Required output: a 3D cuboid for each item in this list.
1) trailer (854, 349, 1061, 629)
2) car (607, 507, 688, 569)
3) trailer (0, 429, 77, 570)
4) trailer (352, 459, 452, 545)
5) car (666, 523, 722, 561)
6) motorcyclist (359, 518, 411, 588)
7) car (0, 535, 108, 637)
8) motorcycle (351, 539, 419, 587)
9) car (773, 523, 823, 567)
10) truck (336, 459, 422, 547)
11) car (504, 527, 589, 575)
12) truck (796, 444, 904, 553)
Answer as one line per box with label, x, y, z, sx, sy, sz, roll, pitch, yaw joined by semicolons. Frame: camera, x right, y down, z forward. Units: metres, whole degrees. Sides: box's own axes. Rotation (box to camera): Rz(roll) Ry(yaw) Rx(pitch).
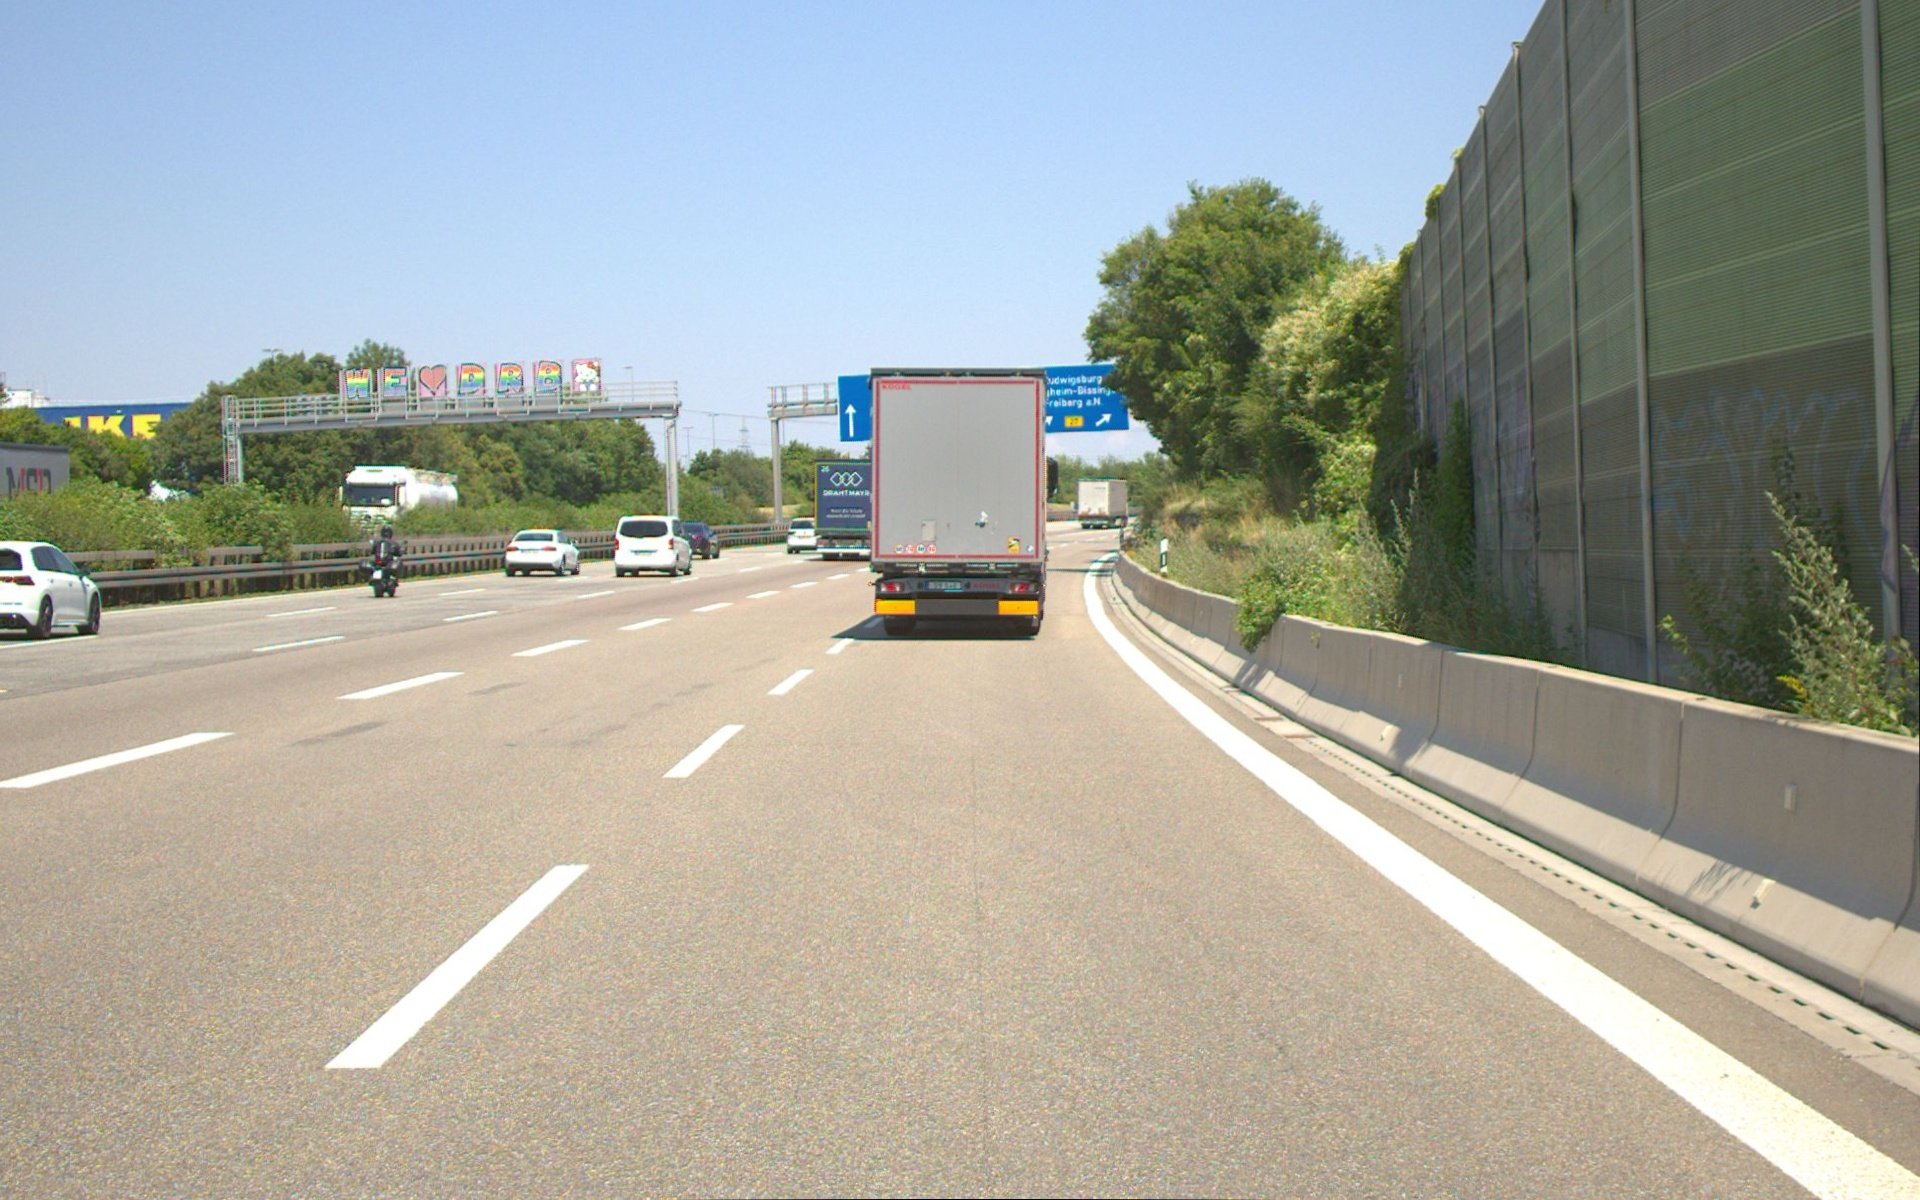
trailer;-0.099;-1.678;55.923;2.928;4.002;12.039;-1;1;-1
car;-9.632;-1.946;106.337;1.930;1.845;4.692;-1;2;1
trailer;-29.368;-2.924;100.363;3.392;4.075;13.927;0;1;1
trailer;-25.964;-4.556;160.414;2.690;3.875;9.734;0;2;2
car;-10.823;-2.373;140.063;1.757;1.403;5.040;-1;2;1
motorcyclist;-13.261;-1.072;79.350;0.893;1.591;1.299;-1;0;3
car;-14.175;-0.238;51.260;1.782;1.435;4.669;0;1;0
motorcycle;-13.264;-0.847;79.369;0.913;1.085;2.849;-1;0;4
car;-7.387;-2.542;157.168;1.904;1.845;4.632;-1;3;1
truck;-26.182;-4.391;155.186;2.695;3.875;5.745;0;2;2
car;-12.861;-1.516;107.130;1.876;1.435;5.125;0;0;2
truck;-4.416;-4.196;141.584;3.747;4.255;14.496;0;2;1
